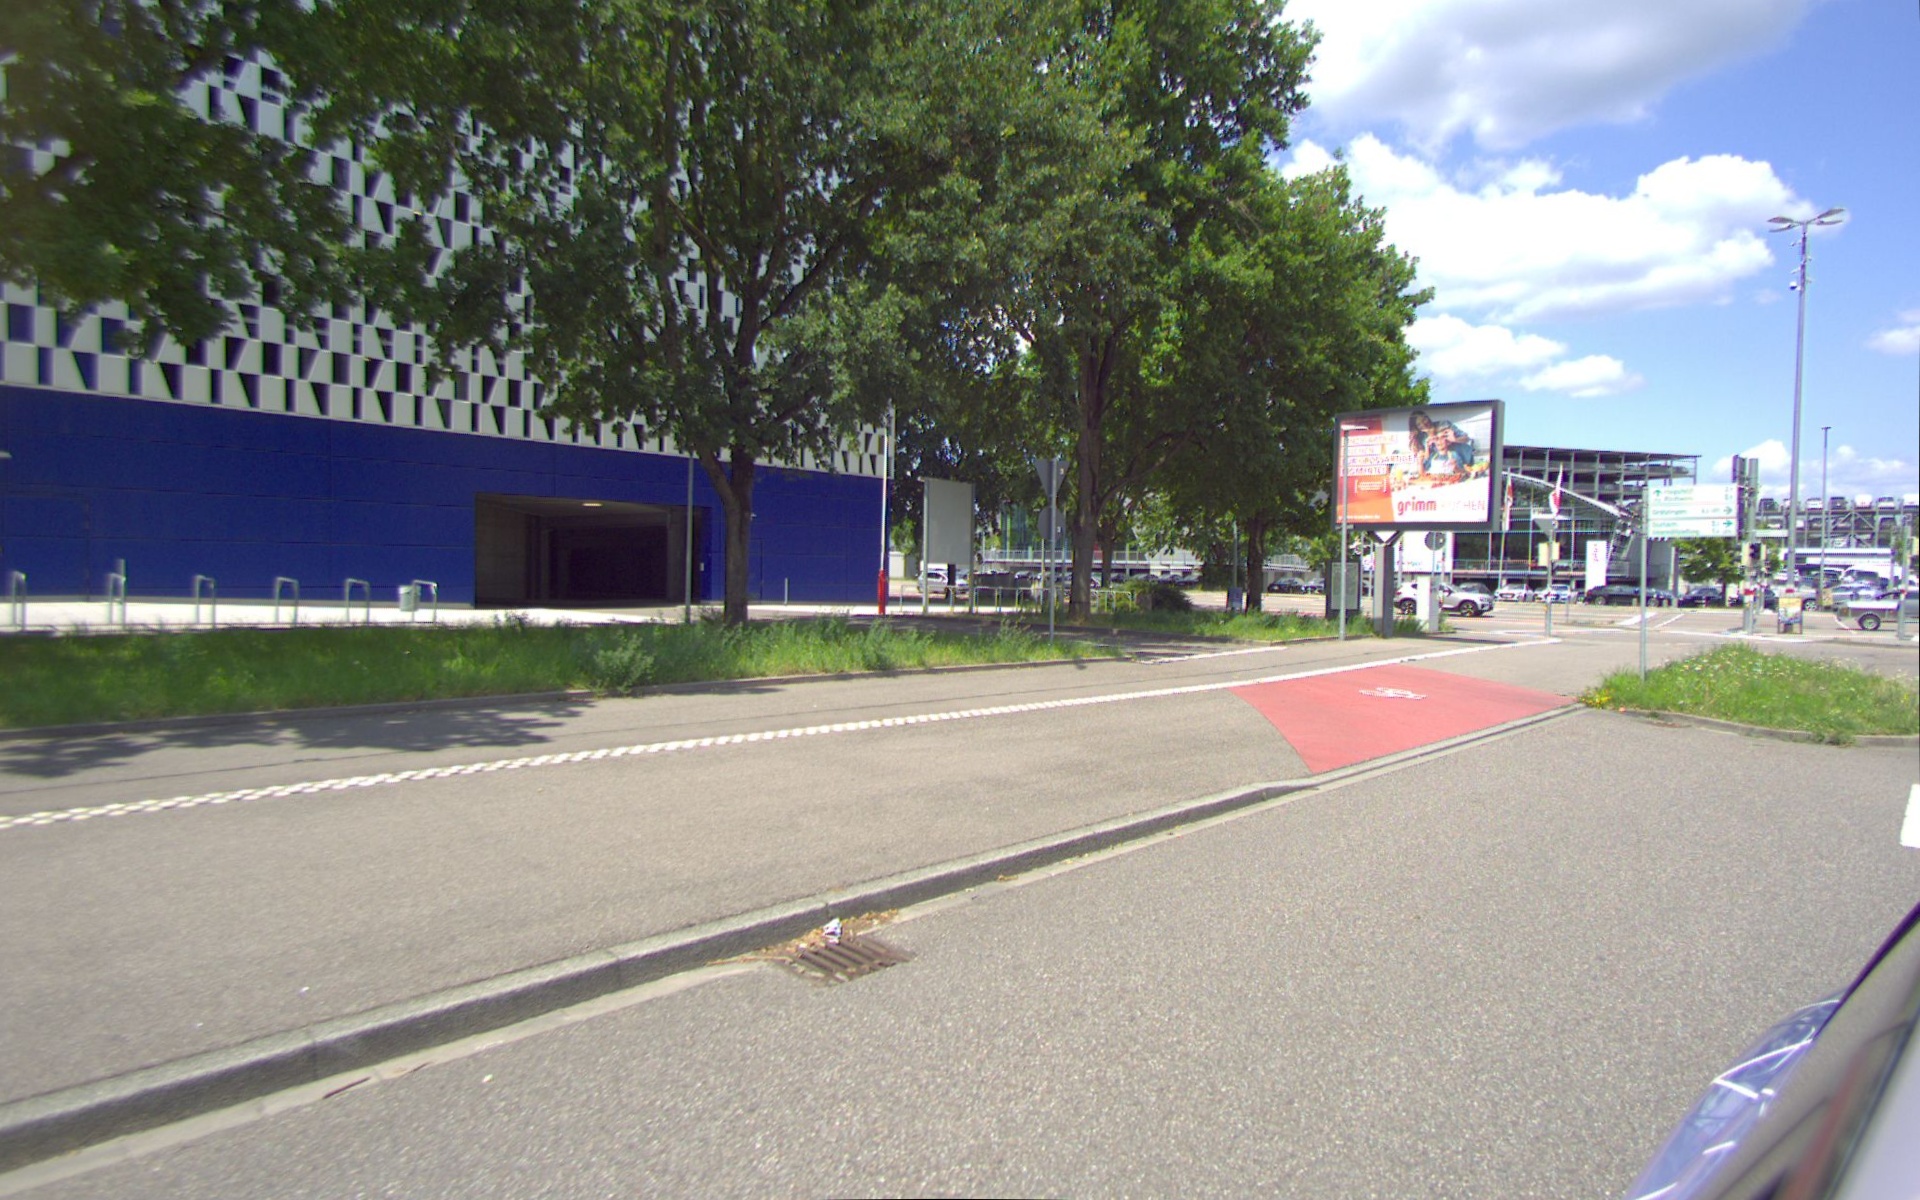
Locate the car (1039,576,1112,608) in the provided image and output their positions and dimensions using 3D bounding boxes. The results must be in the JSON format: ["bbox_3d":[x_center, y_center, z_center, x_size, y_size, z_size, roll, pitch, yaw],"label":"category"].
[{"bbox_3d":[6.963,-0.518,60.983,3.974,1.712,1.835,3,2,35],"label":"car"}]

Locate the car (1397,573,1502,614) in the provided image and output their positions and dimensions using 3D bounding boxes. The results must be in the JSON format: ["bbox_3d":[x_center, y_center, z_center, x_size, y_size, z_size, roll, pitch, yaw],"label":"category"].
[{"bbox_3d":[23.295,-0.343,48.252,4.175,1.749,1.836,2,4,42],"label":"car"}]

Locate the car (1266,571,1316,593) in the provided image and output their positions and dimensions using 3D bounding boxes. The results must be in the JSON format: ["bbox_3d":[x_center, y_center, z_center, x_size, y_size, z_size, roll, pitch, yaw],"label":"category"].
[{"bbox_3d":[26.028,-1.432,79.554,3.925,1.571,1.798,1,2,-36],"label":"car"}]

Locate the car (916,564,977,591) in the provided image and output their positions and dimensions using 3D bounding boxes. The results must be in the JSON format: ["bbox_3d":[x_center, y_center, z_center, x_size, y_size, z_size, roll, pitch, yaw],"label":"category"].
[{"bbox_3d":[-0.970,-1.543,70.059,3.983,1.712,1.831,3,2,40],"label":"car"}]

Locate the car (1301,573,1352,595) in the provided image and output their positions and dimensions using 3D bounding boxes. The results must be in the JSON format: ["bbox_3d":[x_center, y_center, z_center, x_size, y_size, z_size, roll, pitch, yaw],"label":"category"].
[{"bbox_3d":[28.116,-1.217,77.553,3.925,1.571,1.798,1,2,-36],"label":"car"}]

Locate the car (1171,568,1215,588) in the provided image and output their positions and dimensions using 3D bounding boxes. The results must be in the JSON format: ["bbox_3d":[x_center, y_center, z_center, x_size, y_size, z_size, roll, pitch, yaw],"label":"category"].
[{"bbox_3d":[19.739,-1.851,85.654,1.792,1.571,3.936,3,2,44],"label":"car"}]

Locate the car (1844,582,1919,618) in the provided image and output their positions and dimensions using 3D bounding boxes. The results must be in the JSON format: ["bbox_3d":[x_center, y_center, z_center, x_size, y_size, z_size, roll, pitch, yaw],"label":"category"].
[{"bbox_3d":[46.517,0.019,49.496,1.966,1.652,4.693,0,2,-42],"label":"car"}]

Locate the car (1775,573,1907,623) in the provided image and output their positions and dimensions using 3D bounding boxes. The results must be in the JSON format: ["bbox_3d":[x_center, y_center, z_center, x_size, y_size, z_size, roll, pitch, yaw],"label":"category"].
[{"bbox_3d":[33.682,-0.118,38.791,3.745,1.749,1.649,2,4,42],"label":"car"}]

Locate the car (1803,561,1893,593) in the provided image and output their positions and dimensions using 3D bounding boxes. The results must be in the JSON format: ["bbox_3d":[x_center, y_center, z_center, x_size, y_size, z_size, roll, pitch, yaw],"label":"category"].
[{"bbox_3d":[53.684,-1.412,61.249,3.986,1.805,1.970,4,2,42],"label":"car"}]

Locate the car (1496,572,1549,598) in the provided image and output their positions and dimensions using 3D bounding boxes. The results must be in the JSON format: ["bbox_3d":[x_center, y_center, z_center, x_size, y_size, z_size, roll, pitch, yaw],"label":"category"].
[{"bbox_3d":[38.193,-1.009,68.729,3.929,1.593,1.840,0,2,-40],"label":"car"}]

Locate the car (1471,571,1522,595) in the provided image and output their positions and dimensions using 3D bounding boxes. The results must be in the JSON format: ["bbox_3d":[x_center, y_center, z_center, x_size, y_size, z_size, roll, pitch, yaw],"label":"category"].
[{"bbox_3d":[38.044,-1.186,71.694,3.929,1.593,1.840,0,2,-40],"label":"car"}]
